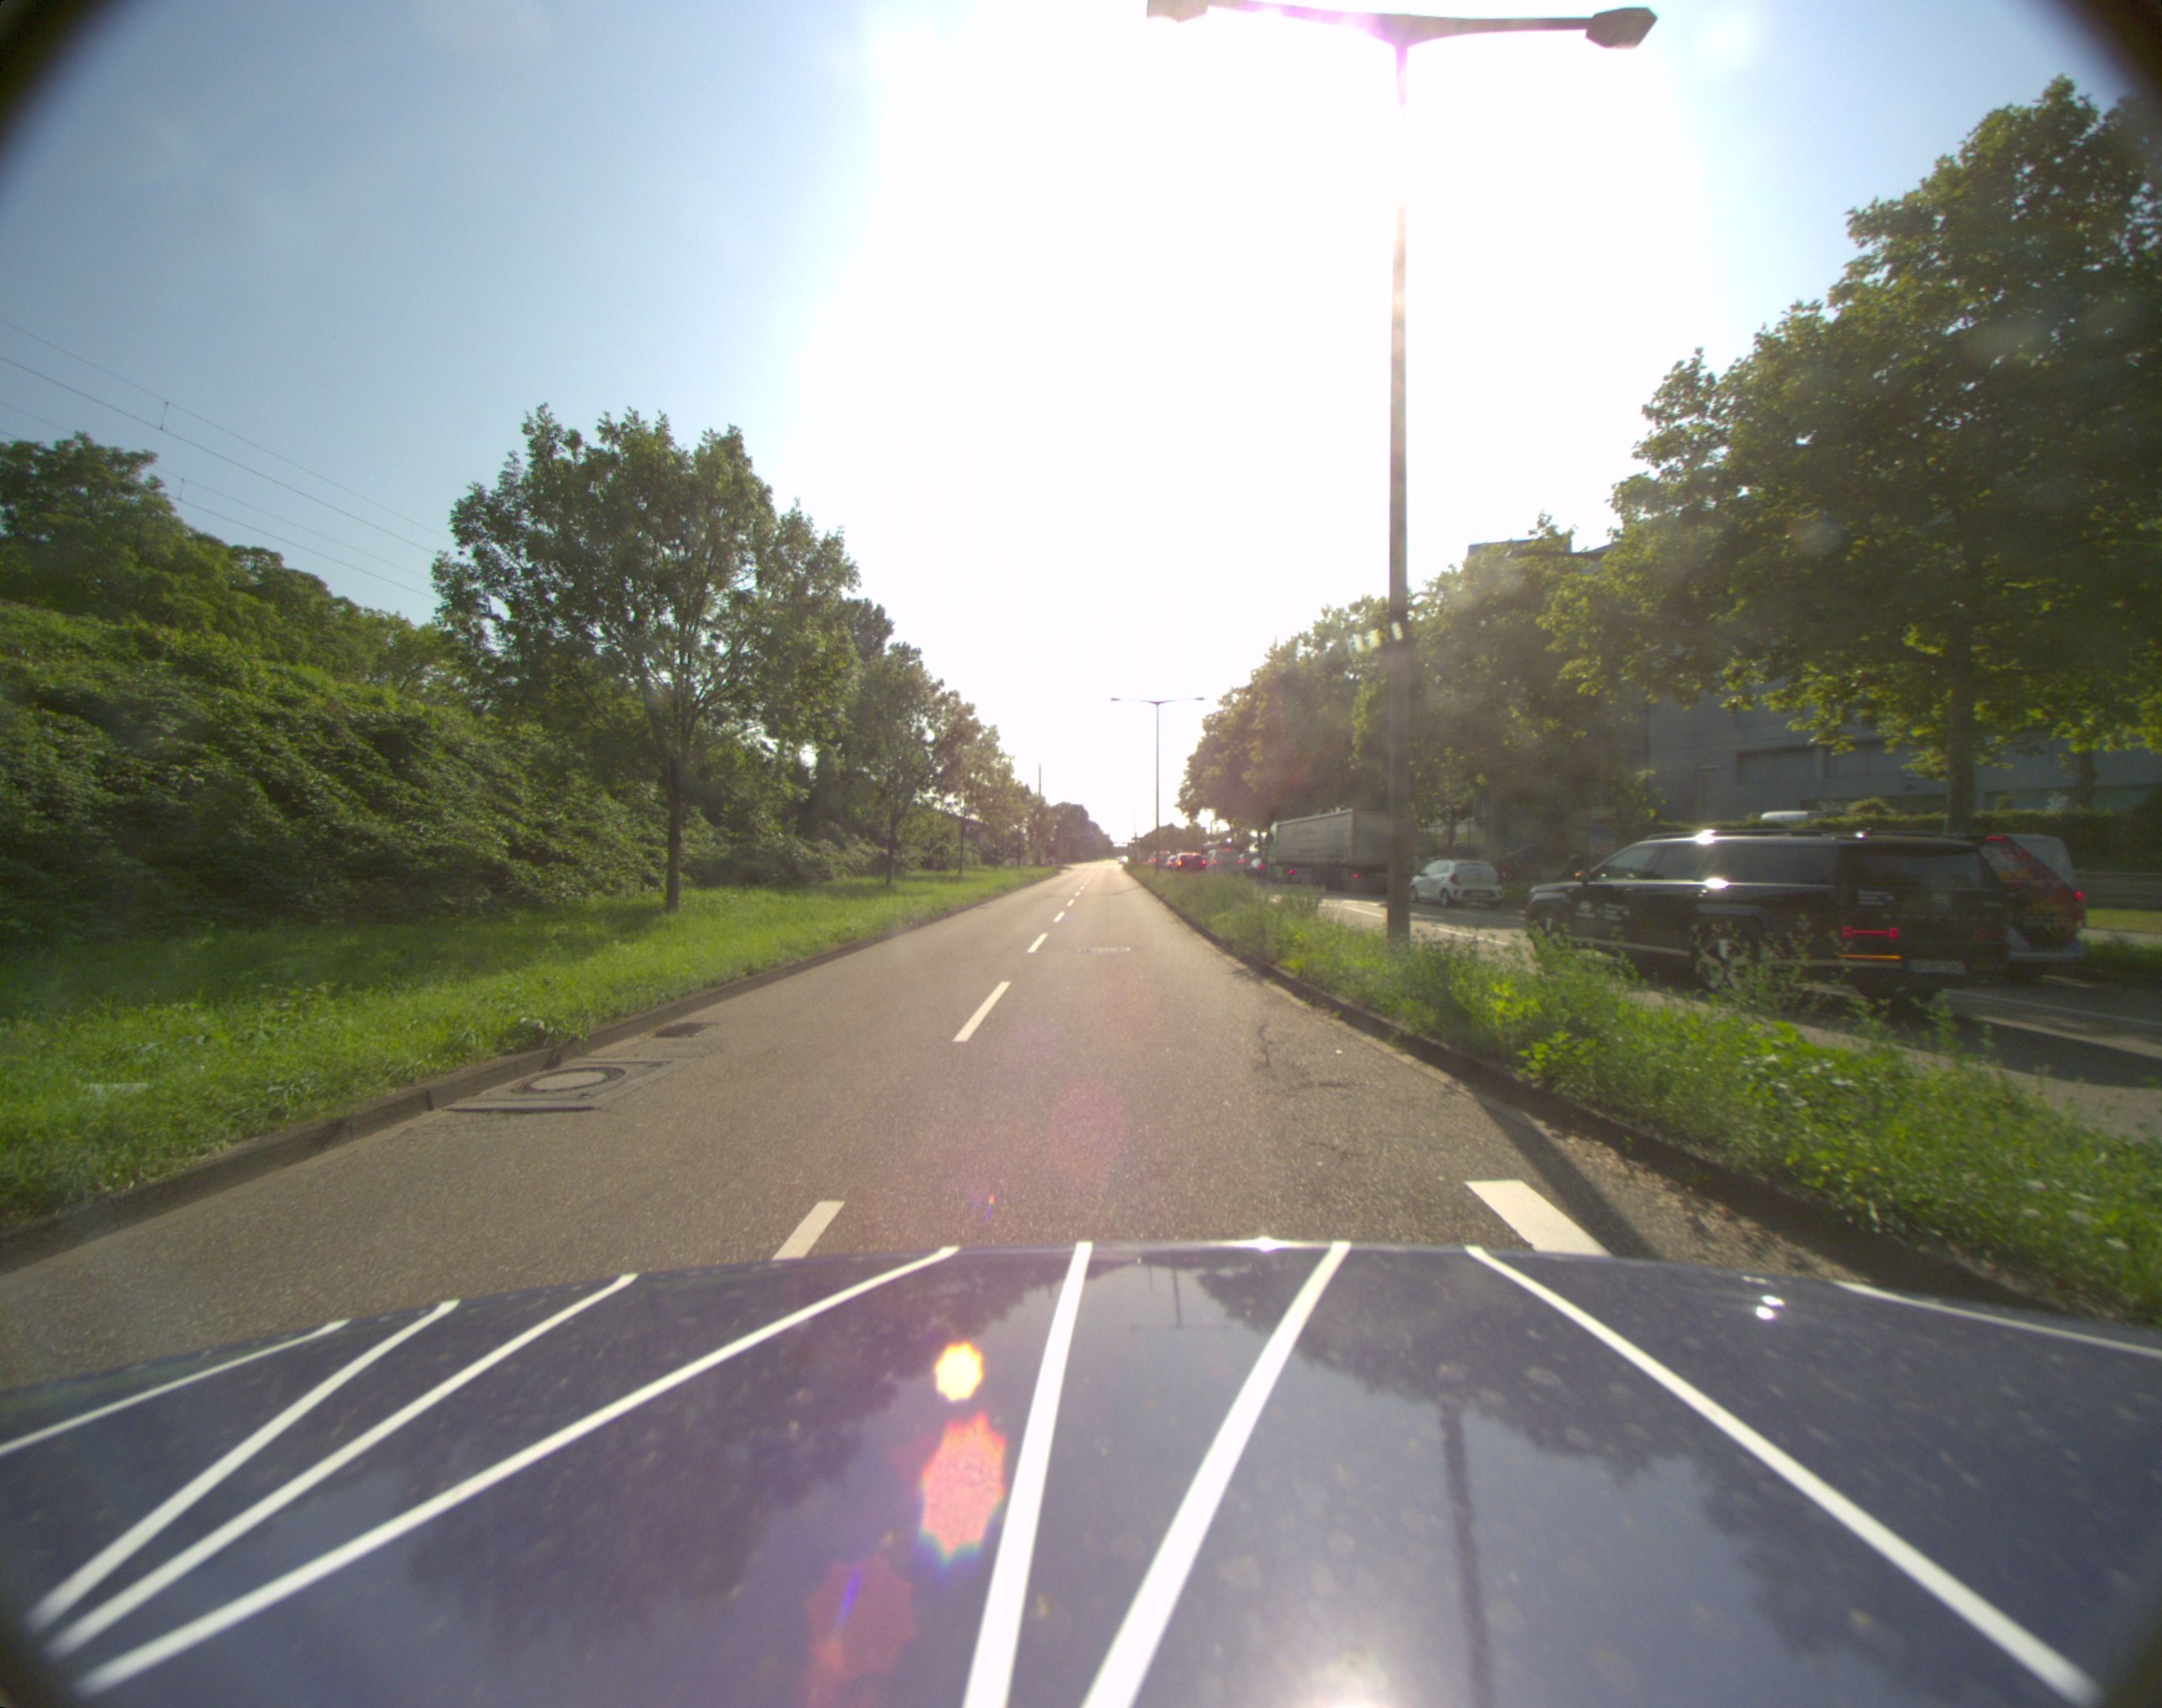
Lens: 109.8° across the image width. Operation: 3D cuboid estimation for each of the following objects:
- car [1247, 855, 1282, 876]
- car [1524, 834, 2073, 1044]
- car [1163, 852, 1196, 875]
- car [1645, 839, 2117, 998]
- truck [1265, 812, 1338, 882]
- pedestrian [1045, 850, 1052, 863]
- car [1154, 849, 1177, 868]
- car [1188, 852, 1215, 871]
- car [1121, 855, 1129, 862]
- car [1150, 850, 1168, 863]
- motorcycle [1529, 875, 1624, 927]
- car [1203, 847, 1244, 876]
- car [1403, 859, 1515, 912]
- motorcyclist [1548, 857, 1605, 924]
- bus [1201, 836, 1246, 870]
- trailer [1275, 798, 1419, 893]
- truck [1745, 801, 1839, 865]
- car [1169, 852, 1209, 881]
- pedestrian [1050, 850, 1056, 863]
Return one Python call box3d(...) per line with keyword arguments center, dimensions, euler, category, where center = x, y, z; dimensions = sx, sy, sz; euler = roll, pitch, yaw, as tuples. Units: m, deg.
box3d(center=(13.412, 0.793, 55.780), dimensions=(1.651, 1.402, 4.480), euler=(1, 0, 2), category="car")
box3d(center=(7.442, 0.718, 8.738), dimensions=(1.999, 1.749, 4.476), euler=(2, 0, -1), category="car")
box3d(center=(6.950, 0.650, 54.198), dimensions=(1.750, 1.471, 4.586), euler=(2, 0, 0), category="car")
box3d(center=(11.385, 0.762, 11.562), dimensions=(1.989, 1.848, 4.970), euler=(2, 0, 2), category="car")
box3d(center=(12.760, -0.405, 44.424), dimensions=(2.614, 3.797, 5.891), euler=(1, 0, 2), category="truck")
box3d(center=(-3.979, 0.310, 93.169), dimensions=(0.573, 1.558, 0.535), euler=(-2, 2, -39), category="pedestrian")
box3d(center=(8.386, 0.456, 75.987), dimensions=(1.916, 1.853, 4.890), euler=(0, 0, 2), category="car")
box3d(center=(10.360, 0.616, 65.508), dimensions=(1.698, 1.520, 4.140), euler=(1, 0, 2), category="car")
box3d(center=(8.946, 0.948, 154.474), dimensions=(1.544, 1.433, 3.397), euler=(0, -1, 6), category="car")
box3d(center=(8.515, 0.263, 83.530), dimensions=(1.713, 1.394, 4.084), euler=(1, 0, 2), category="car")
box3d(center=(11.889, 1.094, 18.353), dimensions=(0.796, 1.100, 2.468), euler=(-1, 0, 3), category="motorcycle")
box3d(center=(9.855, 0.488, 52.823), dimensions=(1.998, 1.942, 5.036), euler=(0, 0, 2), category="car")
box3d(center=(11.821, 0.919, 24.043), dimensions=(1.750, 1.471, 3.831), euler=(1, 0, 3), category="car")
box3d(center=(11.882, 0.866, 18.258), dimensions=(0.779, 1.545, 0.922), euler=(-1, 1, 3), category="motorcyclist")
box3d(center=(14.082, -0.134, 75.994), dimensions=(2.596, 3.061, 12.313), euler=(-1, 0, 3), category="bus")
box3d(center=(12.564, -0.383, 37.727), dimensions=(2.639, 3.799, 13.813), euler=(1, 0, 2), category="trailer")
box3d(center=(34.405, -0.976, 36.707), dimensions=(5.915, 2.844, 2.233), euler=(-1, 0, -36), category="truck")
box3d(center=(6.521, 0.718, 46.440), dimensions=(1.958, 1.714, 4.587), euler=(0, 0, 2), category="car")
box3d(center=(-3.423, 0.307, 92.696), dimensions=(0.570, 1.672, 0.493), euler=(0, 1, 34), category="pedestrian")
